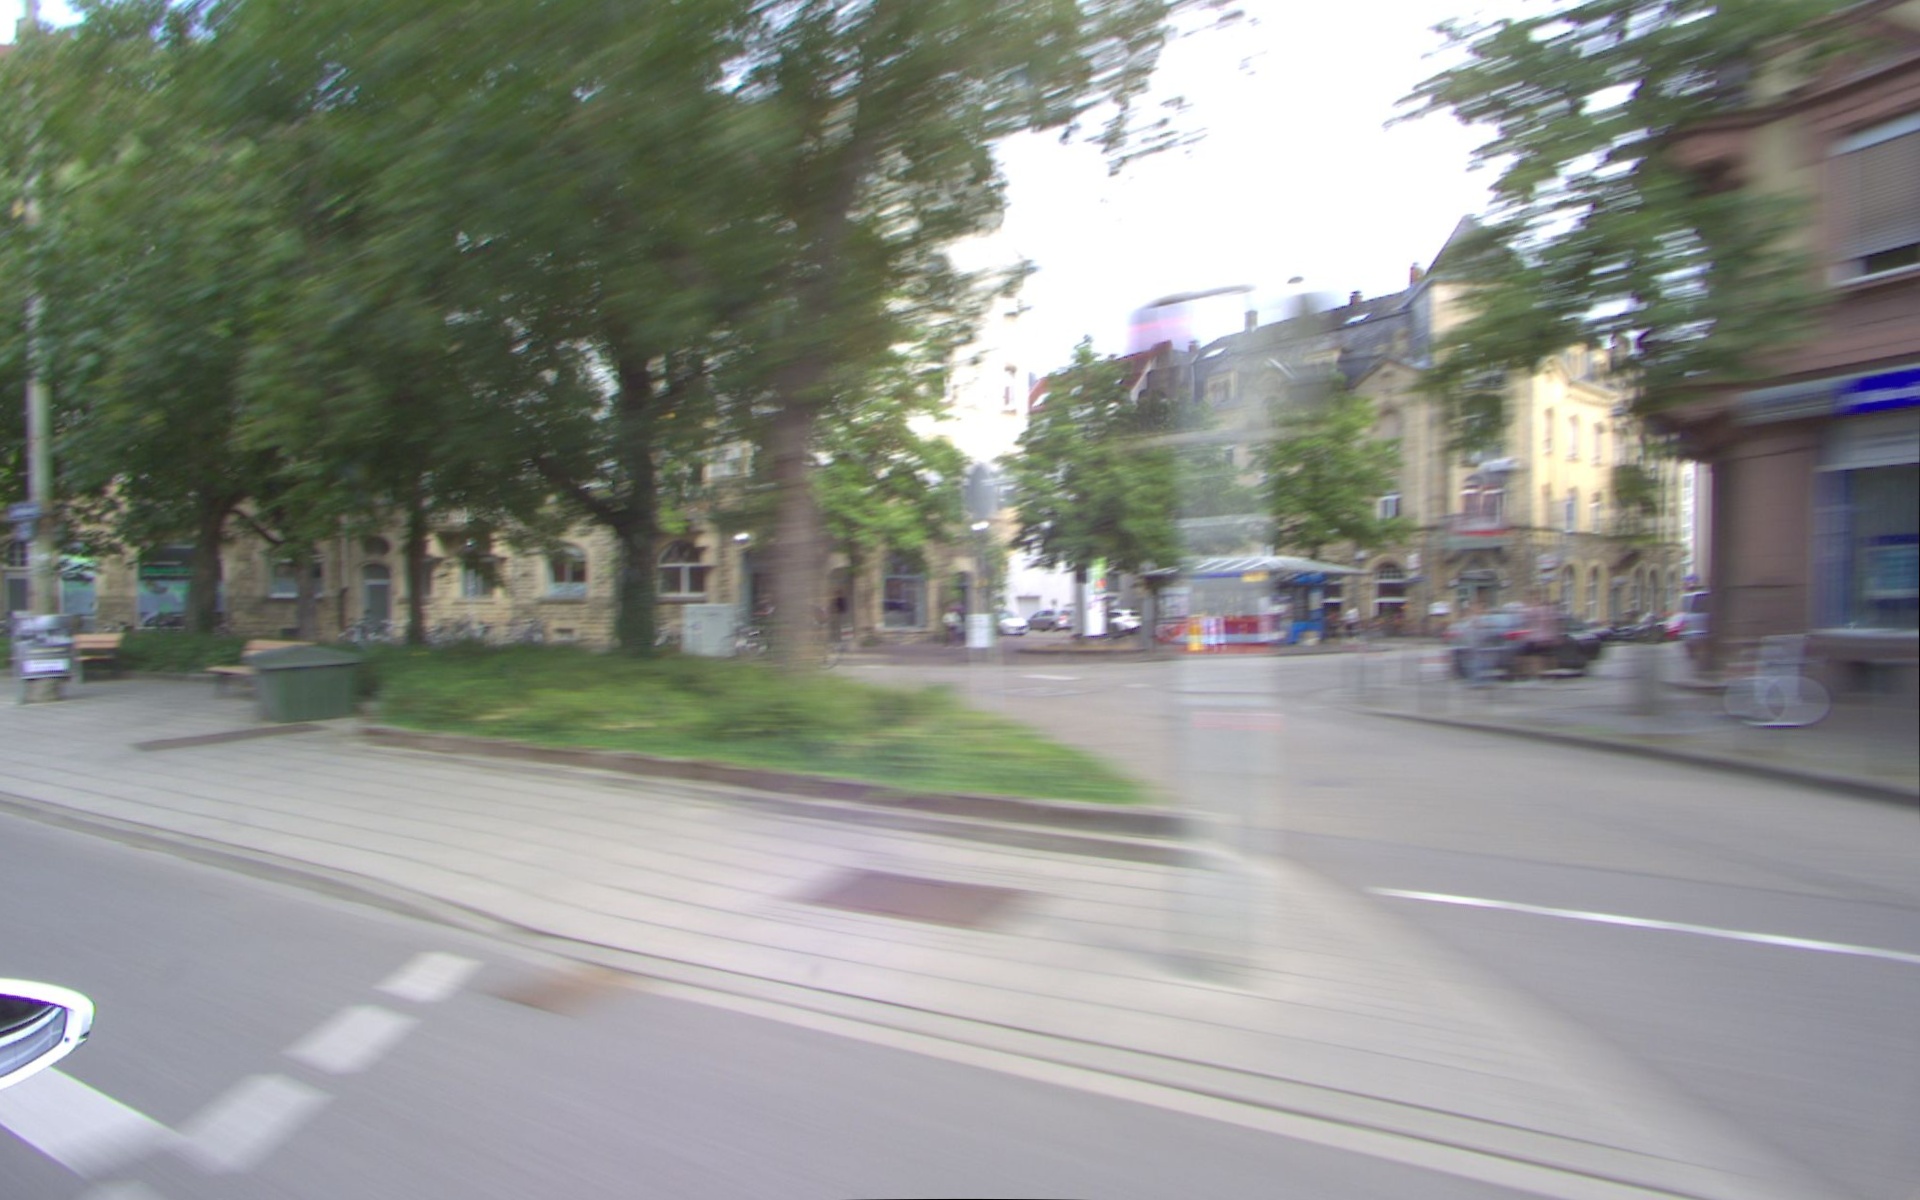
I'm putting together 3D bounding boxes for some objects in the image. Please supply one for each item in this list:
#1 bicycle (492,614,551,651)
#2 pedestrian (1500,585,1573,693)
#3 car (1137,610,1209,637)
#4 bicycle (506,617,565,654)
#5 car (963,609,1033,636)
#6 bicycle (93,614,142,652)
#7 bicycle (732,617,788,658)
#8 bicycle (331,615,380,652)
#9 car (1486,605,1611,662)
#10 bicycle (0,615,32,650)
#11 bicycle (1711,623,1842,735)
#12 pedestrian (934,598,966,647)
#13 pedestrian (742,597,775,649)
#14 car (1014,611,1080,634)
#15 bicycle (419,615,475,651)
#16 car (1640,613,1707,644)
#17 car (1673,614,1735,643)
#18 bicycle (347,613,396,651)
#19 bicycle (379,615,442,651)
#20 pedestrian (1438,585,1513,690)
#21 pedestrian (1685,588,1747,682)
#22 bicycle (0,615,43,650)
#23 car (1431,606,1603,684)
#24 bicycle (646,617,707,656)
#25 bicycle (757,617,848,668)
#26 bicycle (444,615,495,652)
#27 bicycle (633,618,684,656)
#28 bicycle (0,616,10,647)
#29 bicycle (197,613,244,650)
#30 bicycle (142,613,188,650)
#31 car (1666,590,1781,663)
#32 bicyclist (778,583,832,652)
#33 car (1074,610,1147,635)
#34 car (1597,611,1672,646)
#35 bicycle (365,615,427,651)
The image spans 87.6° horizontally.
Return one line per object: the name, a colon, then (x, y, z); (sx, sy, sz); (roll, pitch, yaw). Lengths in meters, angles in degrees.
bicycle: (-14.263, 1.052, 32.625); (0.524, 1.143, 1.887); (1, 0, 26)
pedestrian: (9.681, 0.621, 16.815); (0.882, 1.752, 0.751); (-2, 2, -37)
car: (11.894, 1.288, 56.149); (1.752, 1.414, 3.674); (0, 0, -39)
bicycle: (-13.724, 1.131, 32.410); (0.524, 1.143, 1.887); (1, 0, 26)
car: (2.108, 1.251, 56.545); (1.752, 1.414, 3.967); (0, 0, -39)
bicycle: (-26.804, 1.031, 31.888); (0.523, 1.143, 1.889); (0, 0, -18)
bicycle: (-5.909, 1.094, 29.672); (0.525, 1.143, 1.885); (1, 0, 30)
bicycle: (-20.035, 1.099, 33.227); (0.522, 1.143, 1.893); (0, 1, -1)
car: (17.261, 0.938, 29.312); (3.952, 1.543, 1.804); (0, 0, -38)
bicycle: (-29.940, 1.011, 31.486); (0.442, 1.069, 1.645); (0, 0, -18)
bicycle: (9.361, 0.861, 11.554); (0.661, 1.159, 1.668); (1, 0, 21)
pedestrian: (-0.338, 0.746, 33.926); (0.826, 1.645, 0.726); (0, 1, -41)
pedestrian: (-6.607, 0.743, 32.849); (0.820, 1.698, 0.732); (0, 1, 14)
car: (5.550, 1.399, 64.209); (1.752, 1.414, 4.319); (0, 0, -39)
bicycle: (-16.914, 1.072, 33.053); (0.571, 1.143, 1.892); (0, 0, 13)
car: (36.341, 1.434, 50.980); (3.958, 1.539, 1.982); (1, -1, -42)
car: (40.899, 1.543, 55.039); (3.958, 1.539, 1.982); (1, -1, -42)
bicycle: (-19.494, 1.048, 33.212); (0.522, 1.143, 1.893); (0, 1, -1)
bicycle: (-18.115, 1.064, 33.056); (0.588, 1.143, 1.889); (0, 0, 21)
pedestrian: (8.895, 0.614, 17.294); (0.721, 1.752, 0.889); (-1, 2, -28)
pedestrian: (14.651, 0.658, 19.401); (0.882, 1.752, 0.727); (-2, 2, -37)
bicycle: (-29.538, 1.012, 31.433); (0.442, 1.069, 1.645); (0, 0, -18)
car: (11.579, 0.870, 20.724); (3.955, 1.460, 1.803); (0, 0, -40)
bicycle: (-8.705, 1.107, 30.813); (0.525, 1.143, 1.882); (1, 0, 35)
bicycle: (-3.766, 1.009, 24.016); (2.062, 1.167, 0.654); (0, 1, 9)
bicycle: (-16.118, 1.077, 32.943); (0.583, 1.143, 1.893); (0, 0, 7)
bicycle: (-9.421, 1.136, 31.358); (0.523, 1.143, 1.890); (0, 0, 18)
bicycle: (-30.754, 1.009, 31.581); (0.593, 0.985, 1.667); (0, 0, -22)
bicycle: (-24.034, 1.016, 32.576); (0.656, 1.143, 1.889); (0, 0, -18)
bicycle: (-25.589, 0.995, 32.265); (0.523, 1.143, 1.889); (0, 0, -18)
car: (22.468, 0.735, 29.423); (3.955, 2.006, 1.853); (0, 0, -40)
bicyclist: (-3.709, 0.408, 23.989); (1.117, 1.627, 0.646); (0, 1, 9)
car: (8.961, 1.344, 60.009); (1.752, 1.414, 4.319); (0, 0, -39)
car: (31.219, 1.310, 46.317); (3.958, 1.539, 1.982); (1, -1, -42)
bicycle: (-18.685, 1.063, 33.221); (0.553, 1.143, 1.889); (0, 0, 21)
